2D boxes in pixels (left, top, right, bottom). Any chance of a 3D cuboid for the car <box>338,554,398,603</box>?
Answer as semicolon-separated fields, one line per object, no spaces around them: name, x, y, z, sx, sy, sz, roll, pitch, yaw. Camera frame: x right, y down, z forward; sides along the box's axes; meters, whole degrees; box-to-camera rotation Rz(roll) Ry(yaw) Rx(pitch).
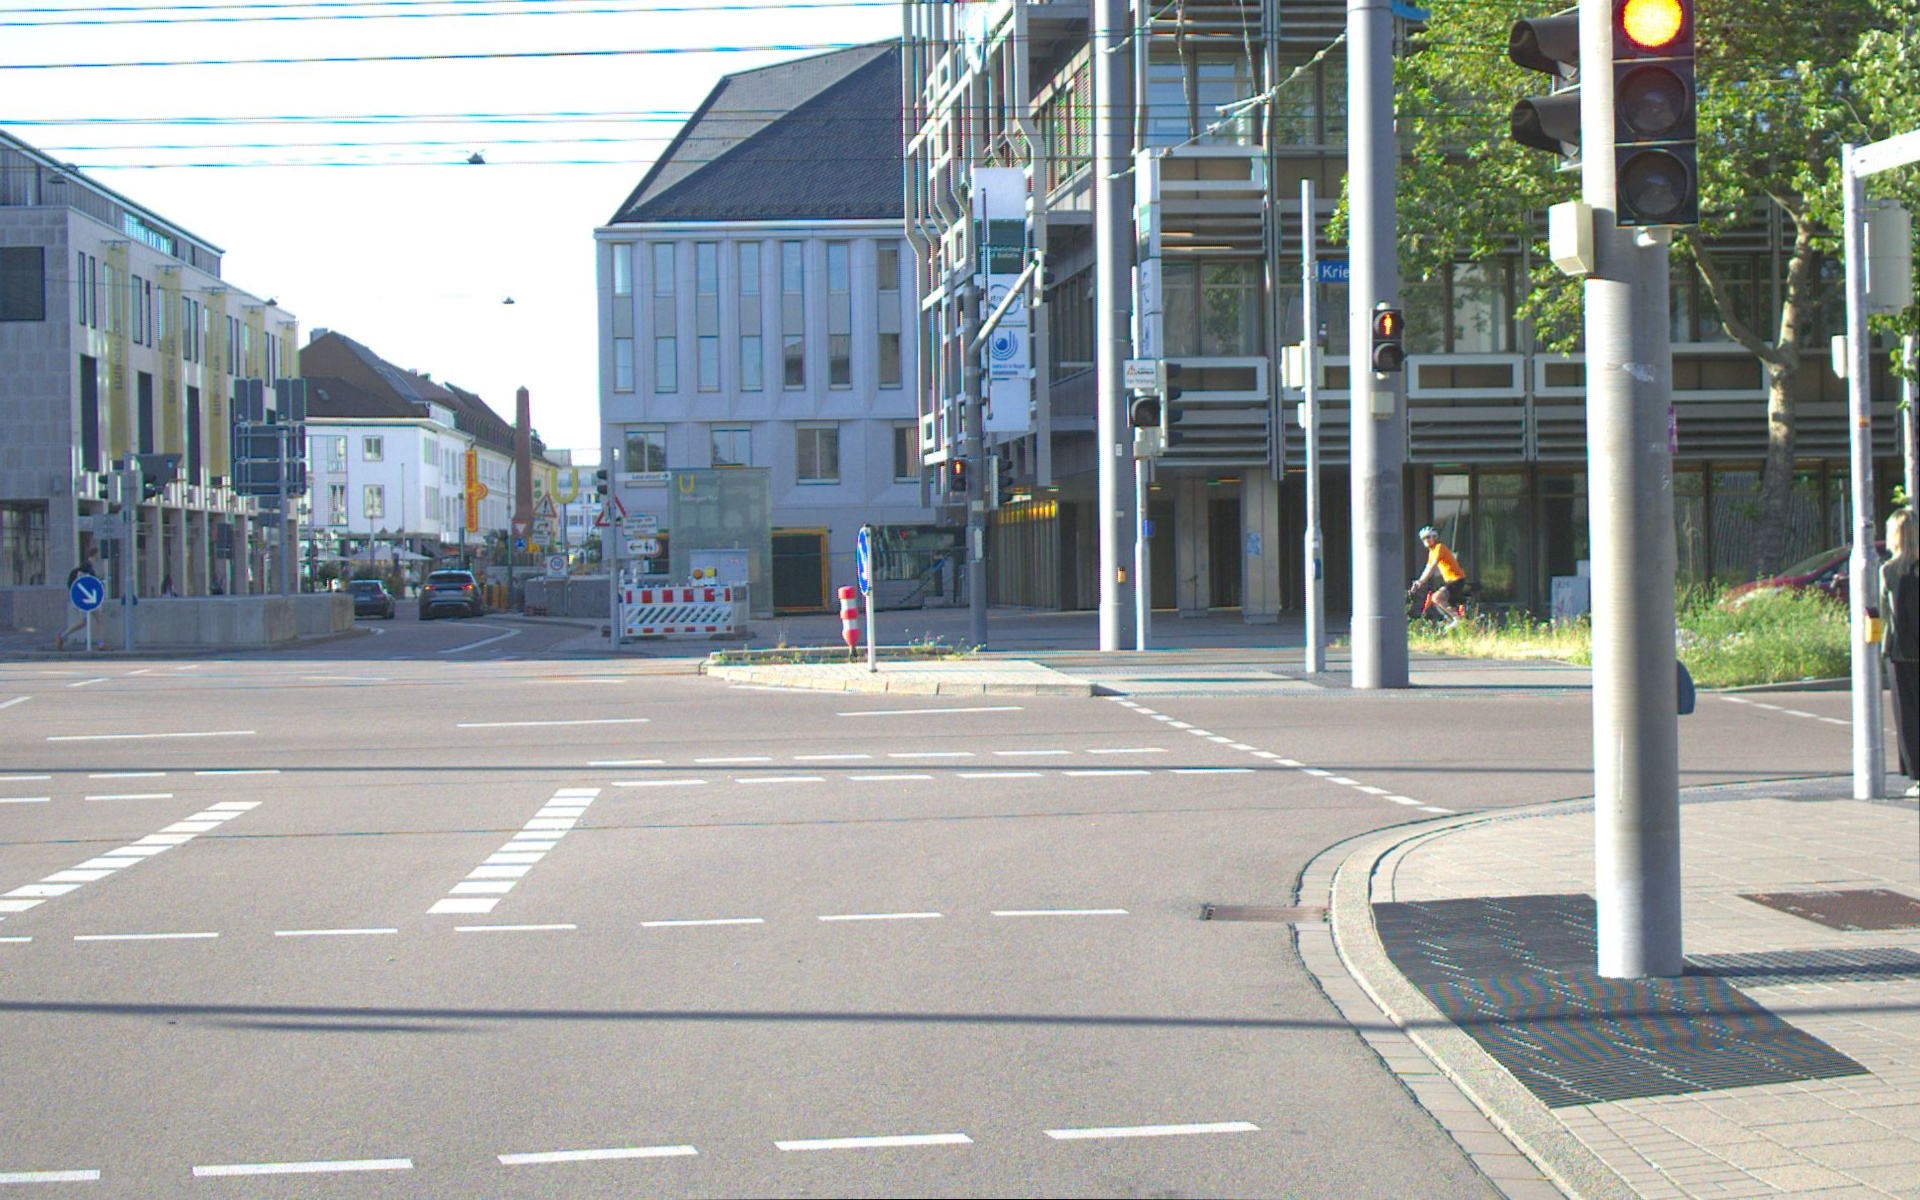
car;-21.211;-0.778;123.296;1.819;1.678;4.001;-1;1;-6

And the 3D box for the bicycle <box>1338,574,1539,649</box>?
bicycle;6.545;0.152;47.121;2.568;0.972;1.047;-1;1;-3

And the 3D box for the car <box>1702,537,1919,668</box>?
car;12.406;0.002;46.420;4.287;1.678;1.826;-1;1;-11

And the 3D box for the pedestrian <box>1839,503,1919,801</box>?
pedestrian;5.379;0.270;19.026;0.765;1.608;0.874;-1;1;-2

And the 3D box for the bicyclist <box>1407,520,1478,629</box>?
bicyclist;6.611;-0.355;47.126;0.822;1.469;0.652;-1;1;-4

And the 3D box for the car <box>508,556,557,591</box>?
car;-18.139;-1.128;145.862;1.658;1.453;3.542;-1;1;-1

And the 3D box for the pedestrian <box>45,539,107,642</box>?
pedestrian;-16.149;-0.171;62.812;0.943;1.858;0.538;0;1;16

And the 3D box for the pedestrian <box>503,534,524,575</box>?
pedestrian;-21.389;-2.161;164.686;0.910;1.958;0.823;1;0;-1

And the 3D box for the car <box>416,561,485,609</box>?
car;-16.013;-0.483;108.080;1.658;1.453;3.542;-1;1;-1
